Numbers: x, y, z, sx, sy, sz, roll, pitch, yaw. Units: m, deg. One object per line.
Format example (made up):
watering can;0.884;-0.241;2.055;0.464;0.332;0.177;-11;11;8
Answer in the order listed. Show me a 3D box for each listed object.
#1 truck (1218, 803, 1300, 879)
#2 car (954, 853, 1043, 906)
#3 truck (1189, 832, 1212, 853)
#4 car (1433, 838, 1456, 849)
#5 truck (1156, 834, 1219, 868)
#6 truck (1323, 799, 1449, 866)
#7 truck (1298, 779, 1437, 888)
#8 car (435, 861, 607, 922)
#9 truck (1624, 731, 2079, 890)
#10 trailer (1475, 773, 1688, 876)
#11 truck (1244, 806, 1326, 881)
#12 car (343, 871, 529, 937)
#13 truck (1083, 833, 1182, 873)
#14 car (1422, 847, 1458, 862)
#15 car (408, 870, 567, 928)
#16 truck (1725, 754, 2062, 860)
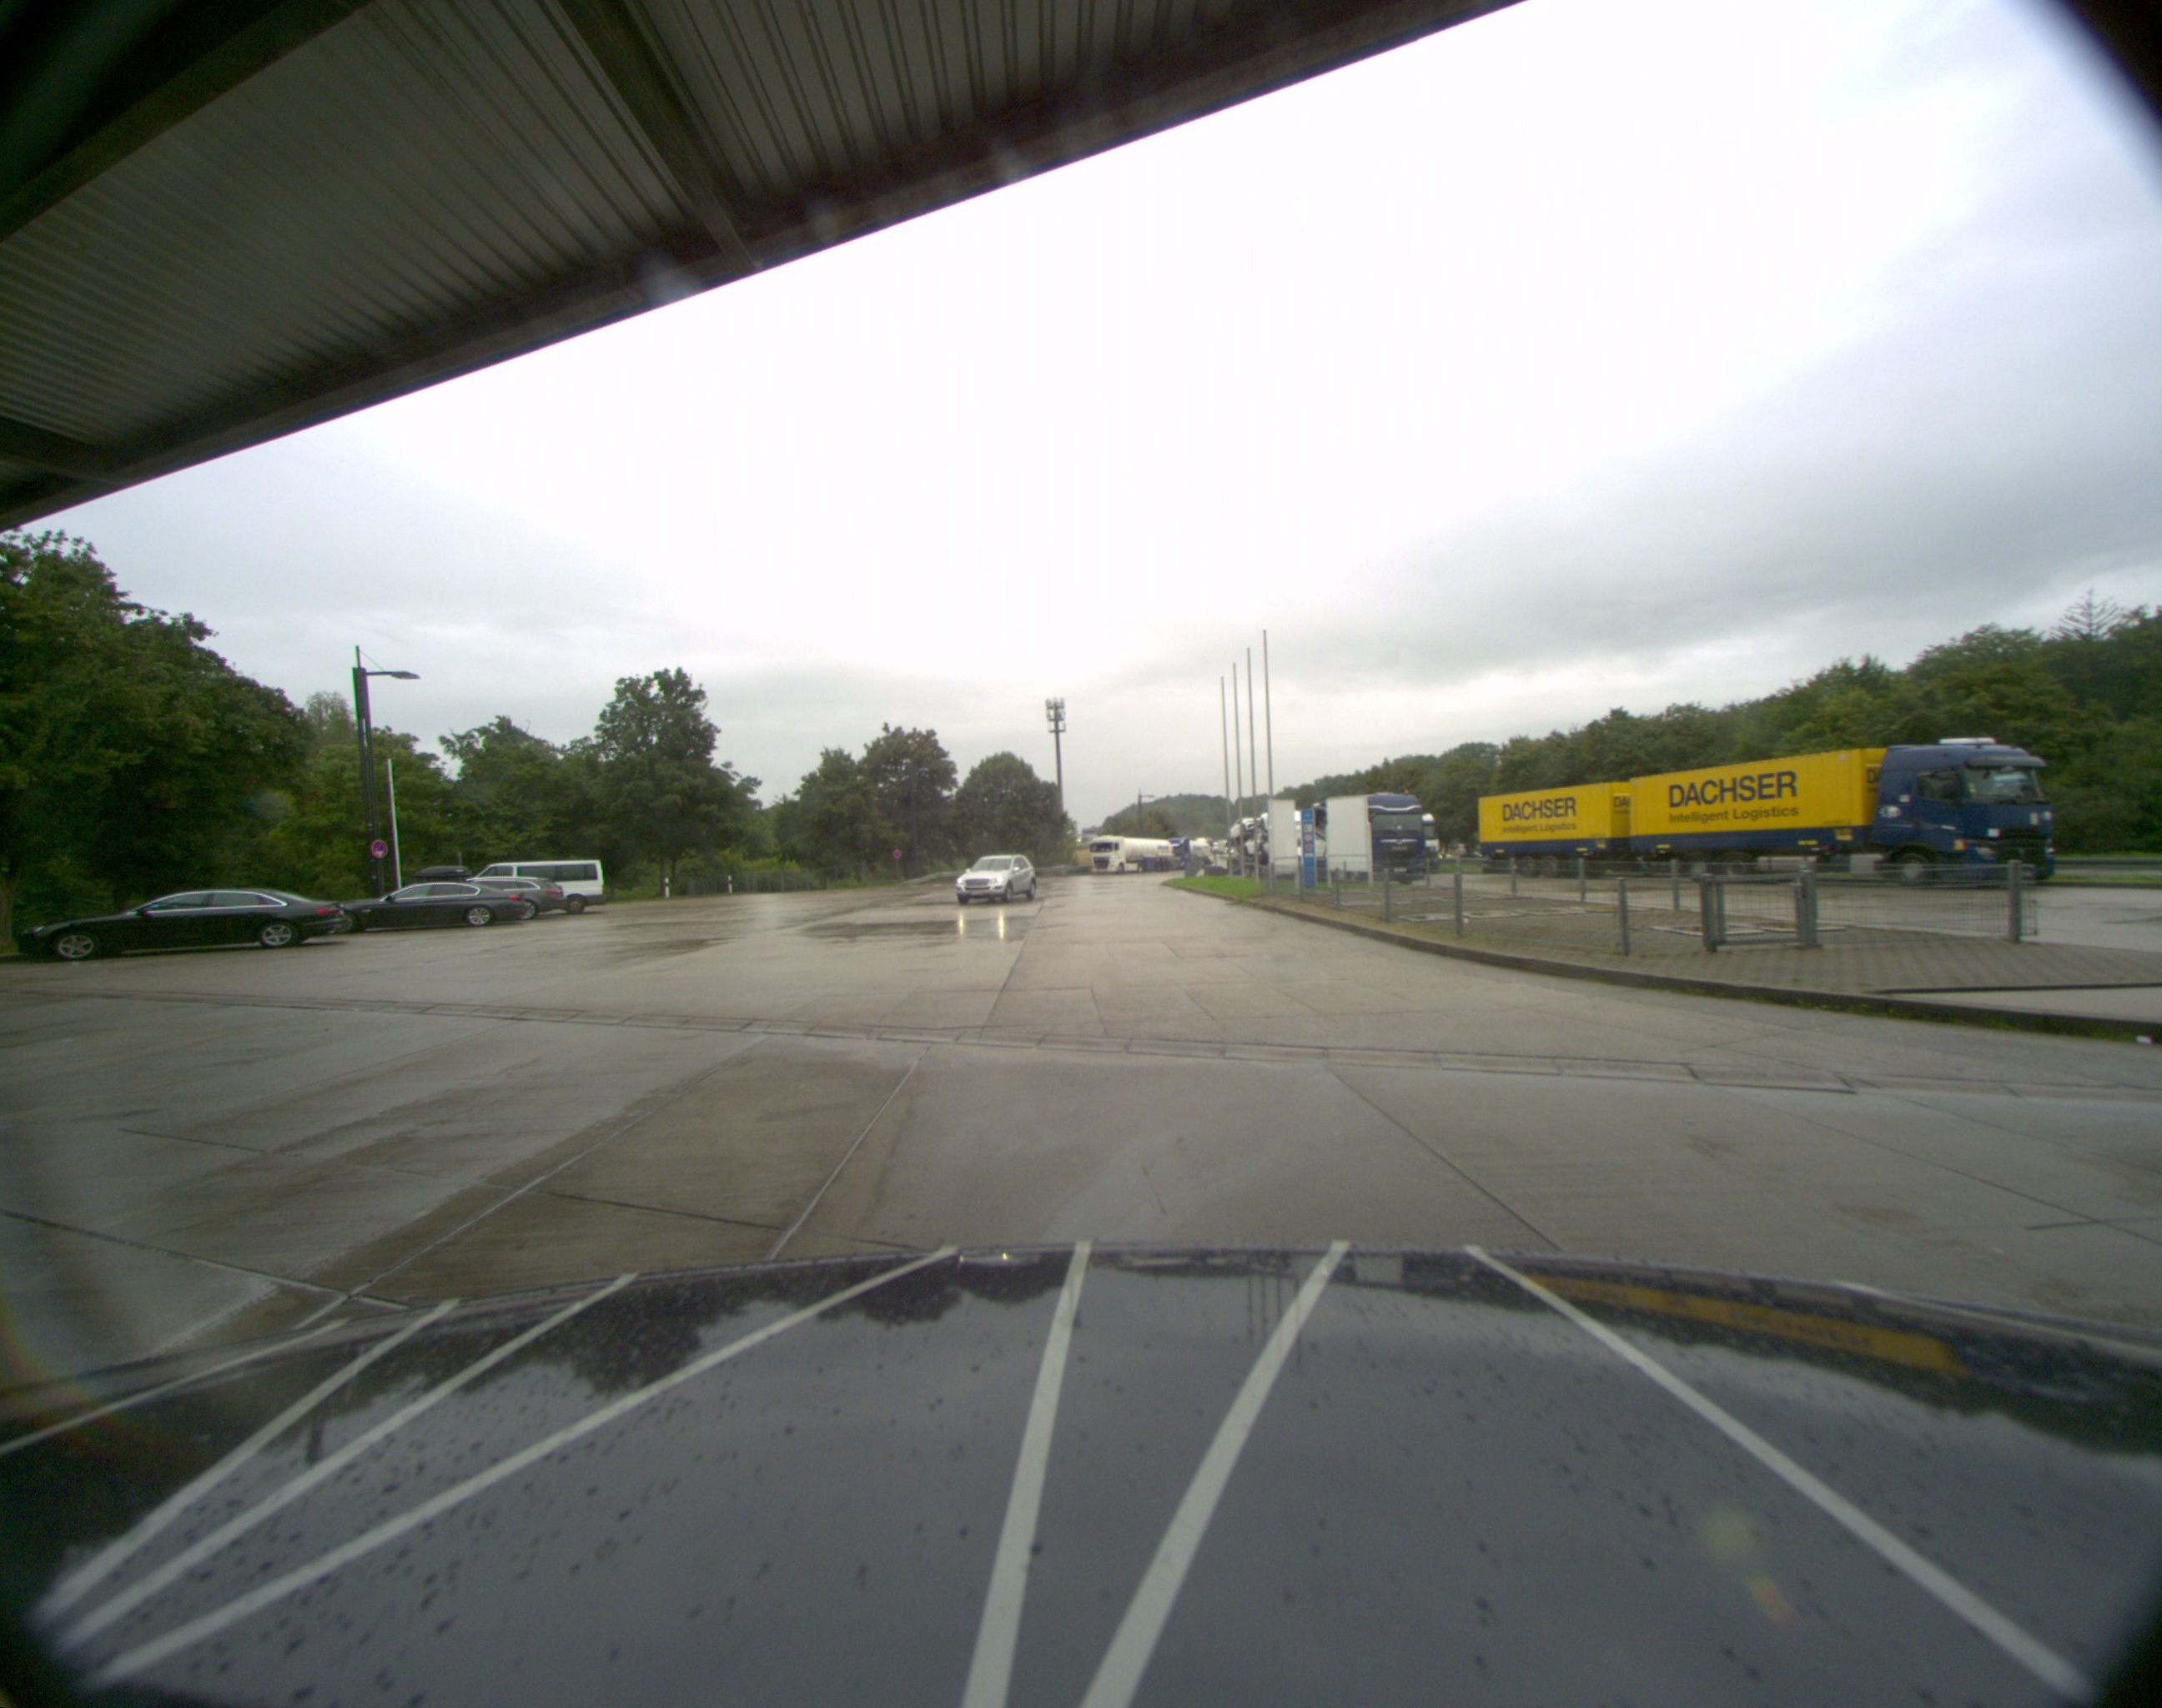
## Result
truck;10.573;-0.725;45.771;2.665;4.157;6.618;-2;1;-6
car;-2.994;0.884;28.697;1.864;1.788;4.544;-2;0;13
truck;31.353;-2.930;199.206;3.145;5.092;11.515;-2;1;-5
car;62.796;-1.835;131.195;1.889;1.748;3.998;-2;1;-3
truck;12.783;-0.401;89.682;3.506;3.584;14.685;-2;0;23
truck;19.885;-1.298;50.561;2.757;3.894;10.678;-2;1;-8
truck;12.186;-0.795;33.172;2.665;4.157;7.103;-2;0;-6
car;-20.425;1.293;27.988;4.898;1.938;2.310;-2;0;-35
truck;23.156;-1.127;24.319;2.757;3.894;10.678;-2;1;-8
trailer;21.794;-1.184;33.940;2.757;3.894;8.700;-2;1;-9
truck;11.049;-0.557;41.580;2.665;3.750;4.747;-2;1;-6
car;-18.873;1.398;22.499;4.007;1.650;1.596;-2;0;-35
truck;5.456;-0.158;75.201;3.505;3.584;14.426;-2;0;31
car;45.275;0.030;95.923;1.891;1.748;3.994;-2;1;-16
car;-19.469;1.431;25.151;4.007;1.650;1.596;-2;0;-35
truck;33.913;-1.761;32.705;2.421;3.785;10.223;-2;1;-10
